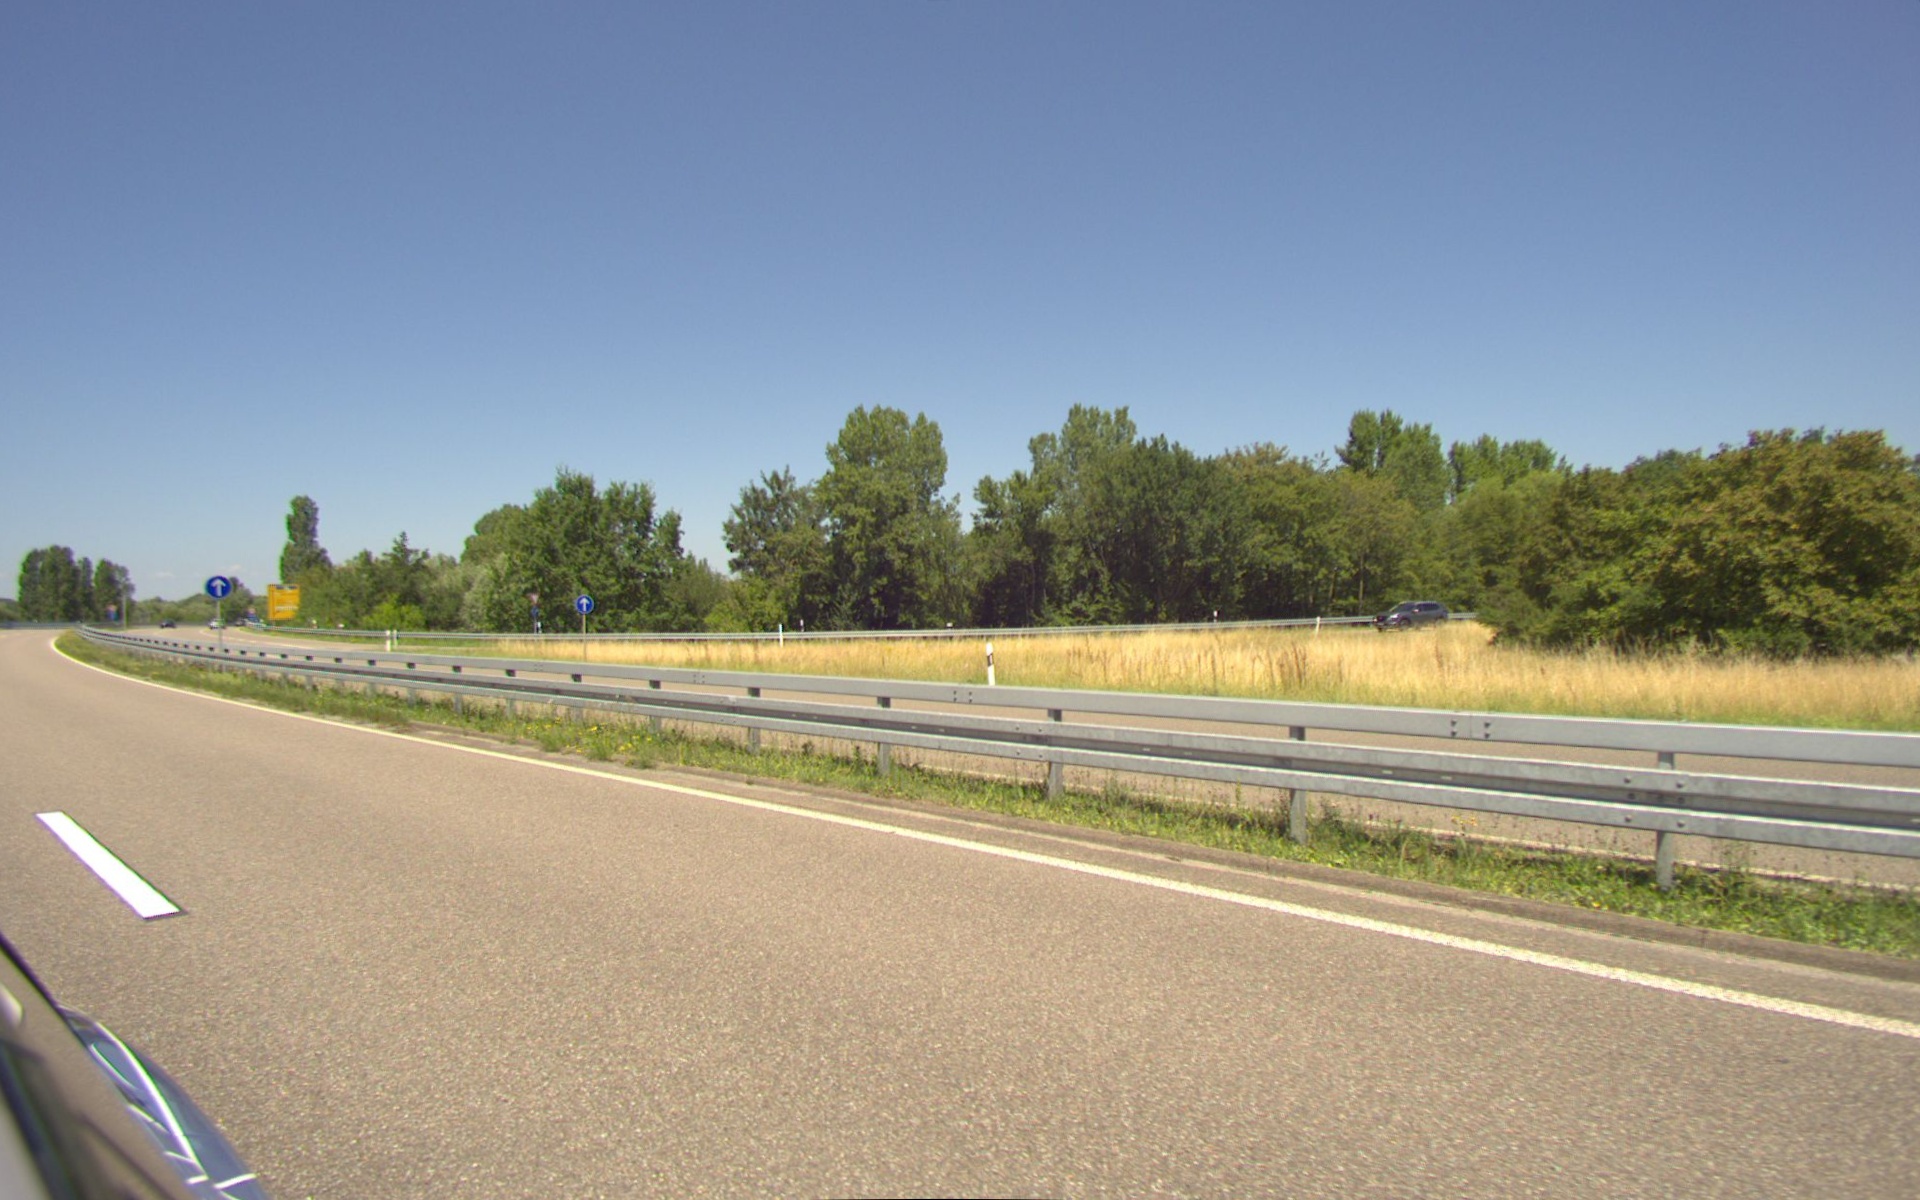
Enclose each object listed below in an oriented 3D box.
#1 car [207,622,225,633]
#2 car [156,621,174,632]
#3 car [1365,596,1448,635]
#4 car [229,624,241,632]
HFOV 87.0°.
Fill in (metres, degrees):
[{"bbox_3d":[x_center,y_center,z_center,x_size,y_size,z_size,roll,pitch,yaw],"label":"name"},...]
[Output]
[{"bbox_3d":[-102.839,3.788,139.920,1.944,1.497,3.880,-1,0,-35],"label":"car"},{"bbox_3d":[-119.055,3.999,151.573,1.944,1.497,3.880,-1,0,-35],"label":"car"},{"bbox_3d":[25.459,0.864,57.771,3.932,2.029,2.006,-2,1,-18],"label":"car"},{"bbox_3d":[-153.344,5.905,213.956,1.944,1.497,3.880,-1,0,-35],"label":"car"}]
